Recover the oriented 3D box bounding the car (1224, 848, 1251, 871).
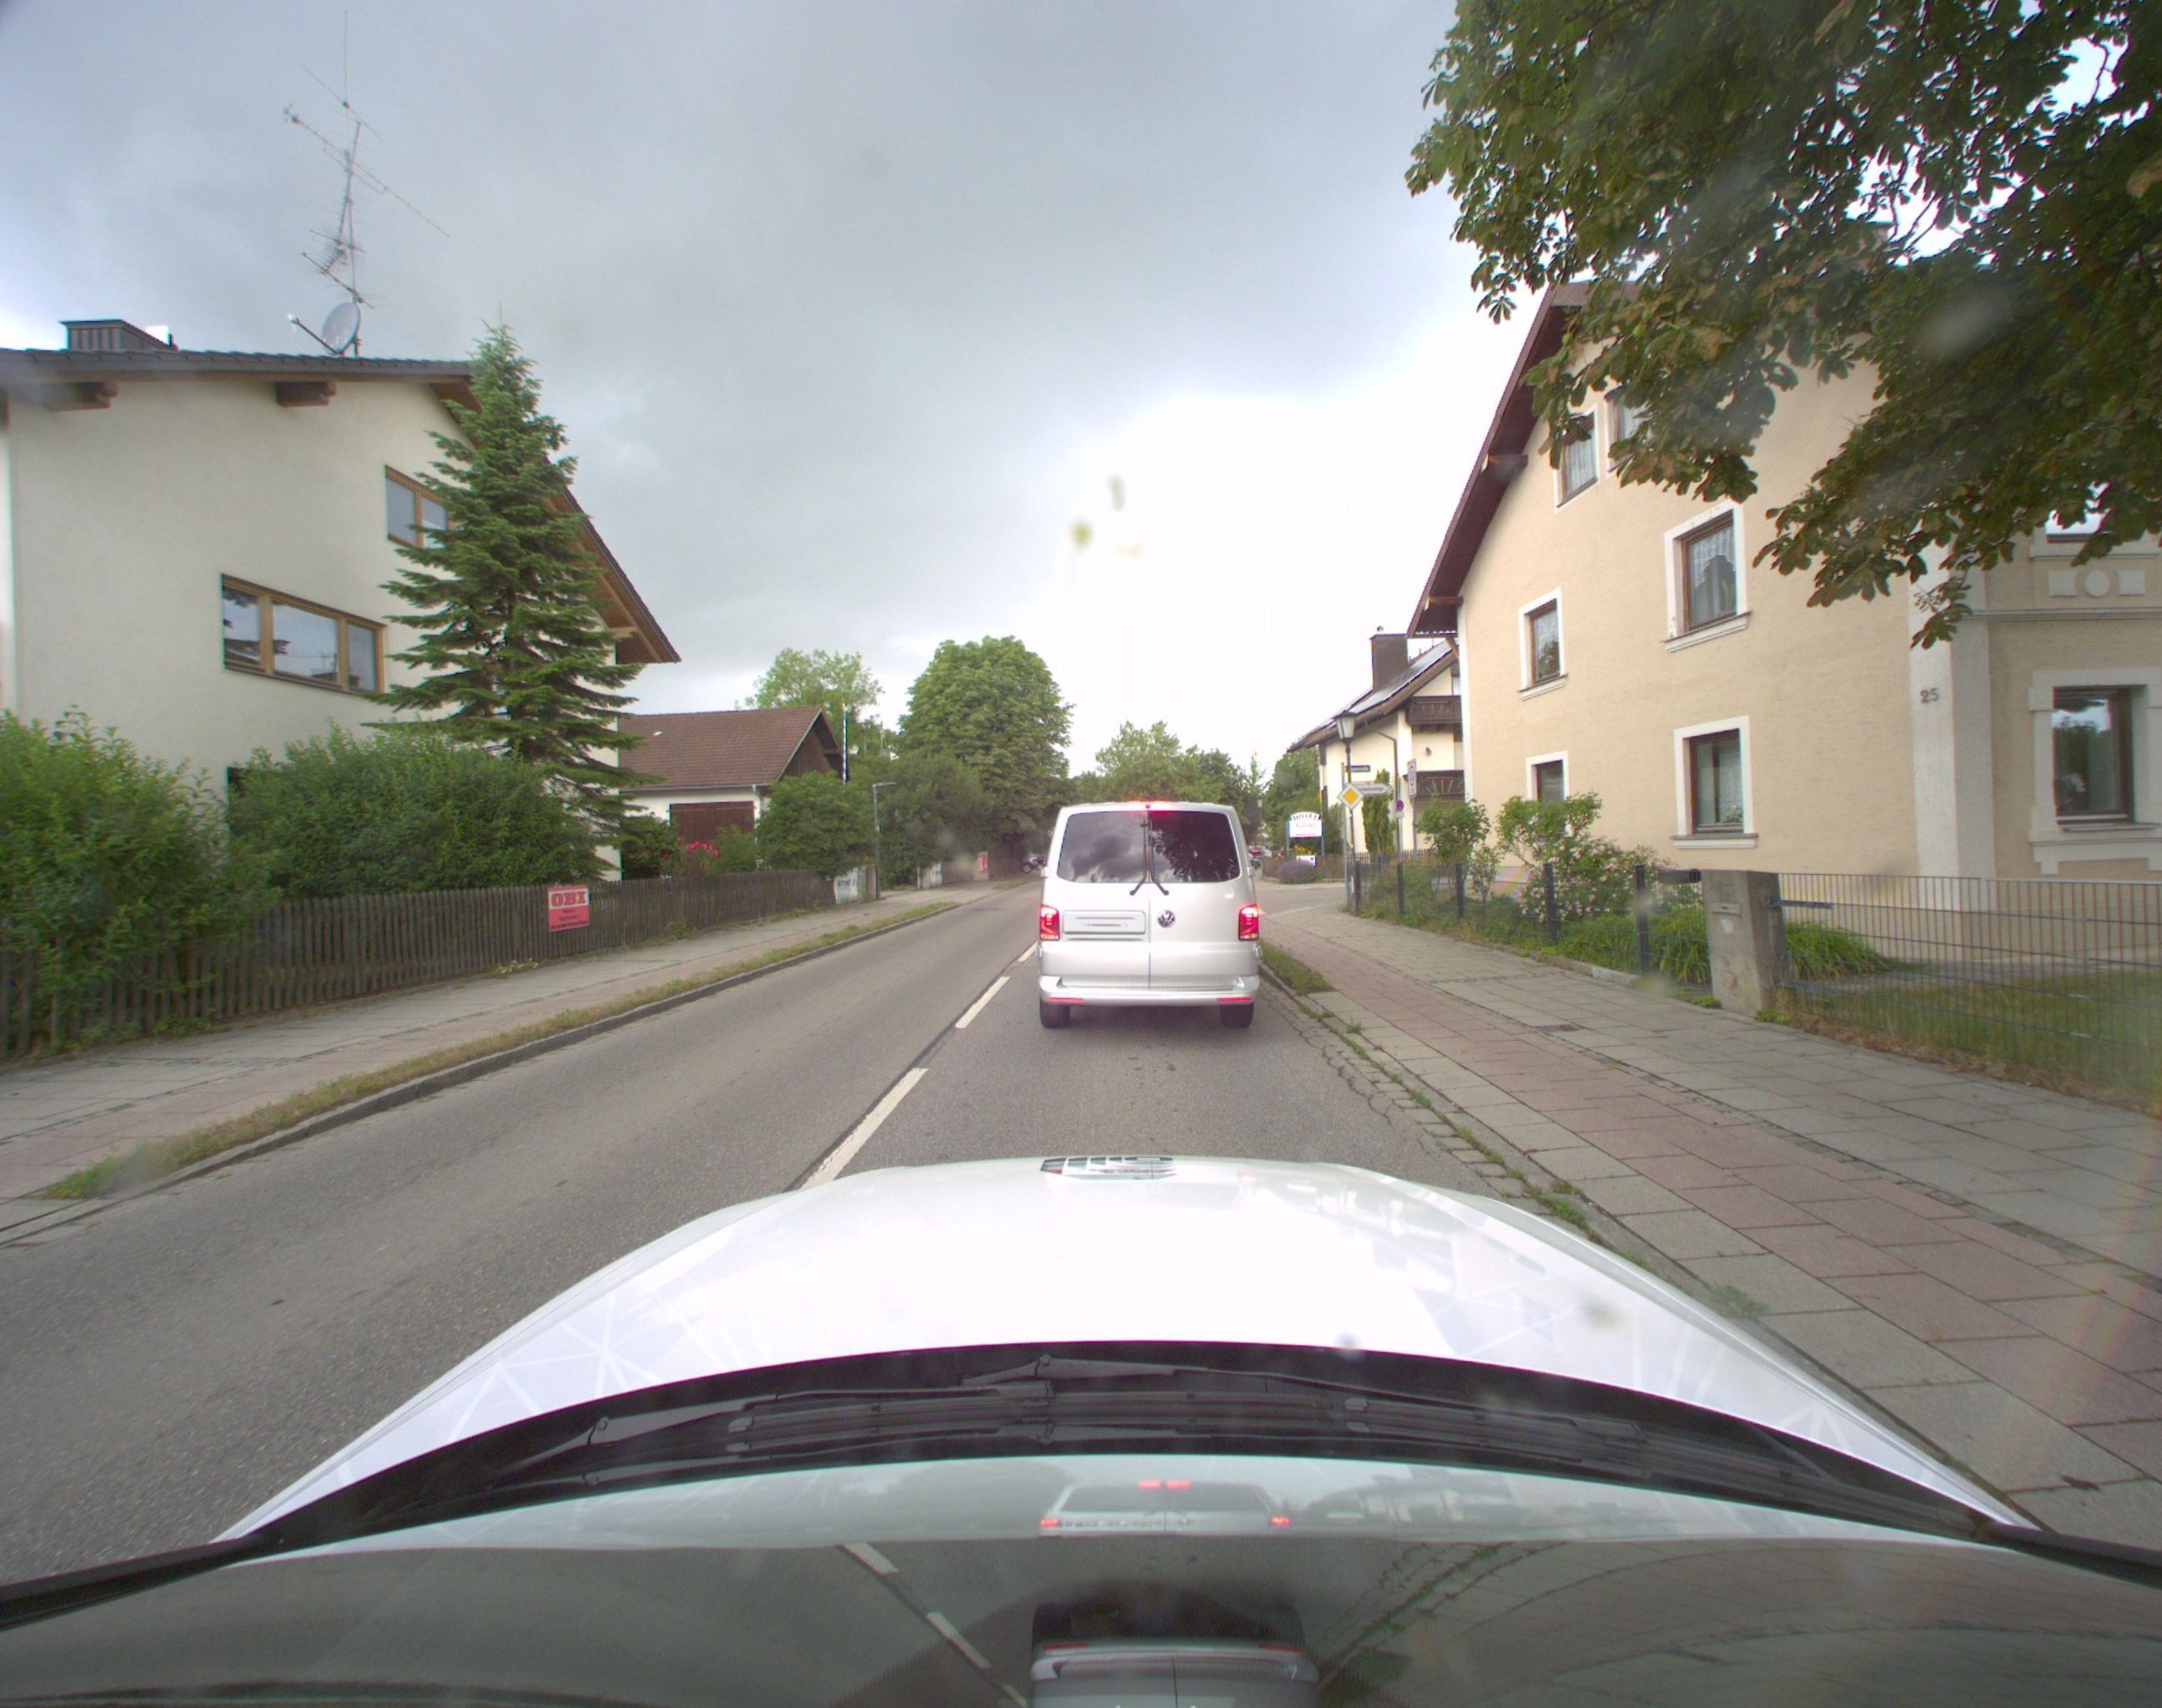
[{"bbox_3d":[12.669,0.403,65.728,1.867,1.748,4.096,-2,0,14],"label":"car"}]

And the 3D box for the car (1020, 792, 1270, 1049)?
[{"bbox_3d":[0.583,0.516,8.258,1.874,1.940,3.923,-2,0,3],"label":"car"}]

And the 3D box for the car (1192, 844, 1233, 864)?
[{"bbox_3d":[12.955,-0.052,80.259,3.941,1.825,1.865,-2,0,-41],"label":"car"}]

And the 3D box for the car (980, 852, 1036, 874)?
[{"bbox_3d":[-5.321,0.671,59.253,3.982,1.486,1.996,-1,0,-7],"label":"car"}]

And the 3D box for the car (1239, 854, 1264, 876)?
[{"bbox_3d":[15.163,0.930,72.492,1.867,1.825,3.937,-2,0,16],"label":"car"}]

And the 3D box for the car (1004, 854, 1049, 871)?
[{"bbox_3d":[-4.690,0.711,69.539,3.748,1.346,1.579,-1,0,-9],"label":"car"}]

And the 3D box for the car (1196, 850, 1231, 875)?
[{"bbox_3d":[8.582,0.522,52.354,1.868,1.535,3.935,-2,0,14],"label":"car"}]

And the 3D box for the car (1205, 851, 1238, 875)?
[{"bbox_3d":[9.903,0.600,57.189,1.867,1.535,3.937,-2,0,16],"label":"car"}]
